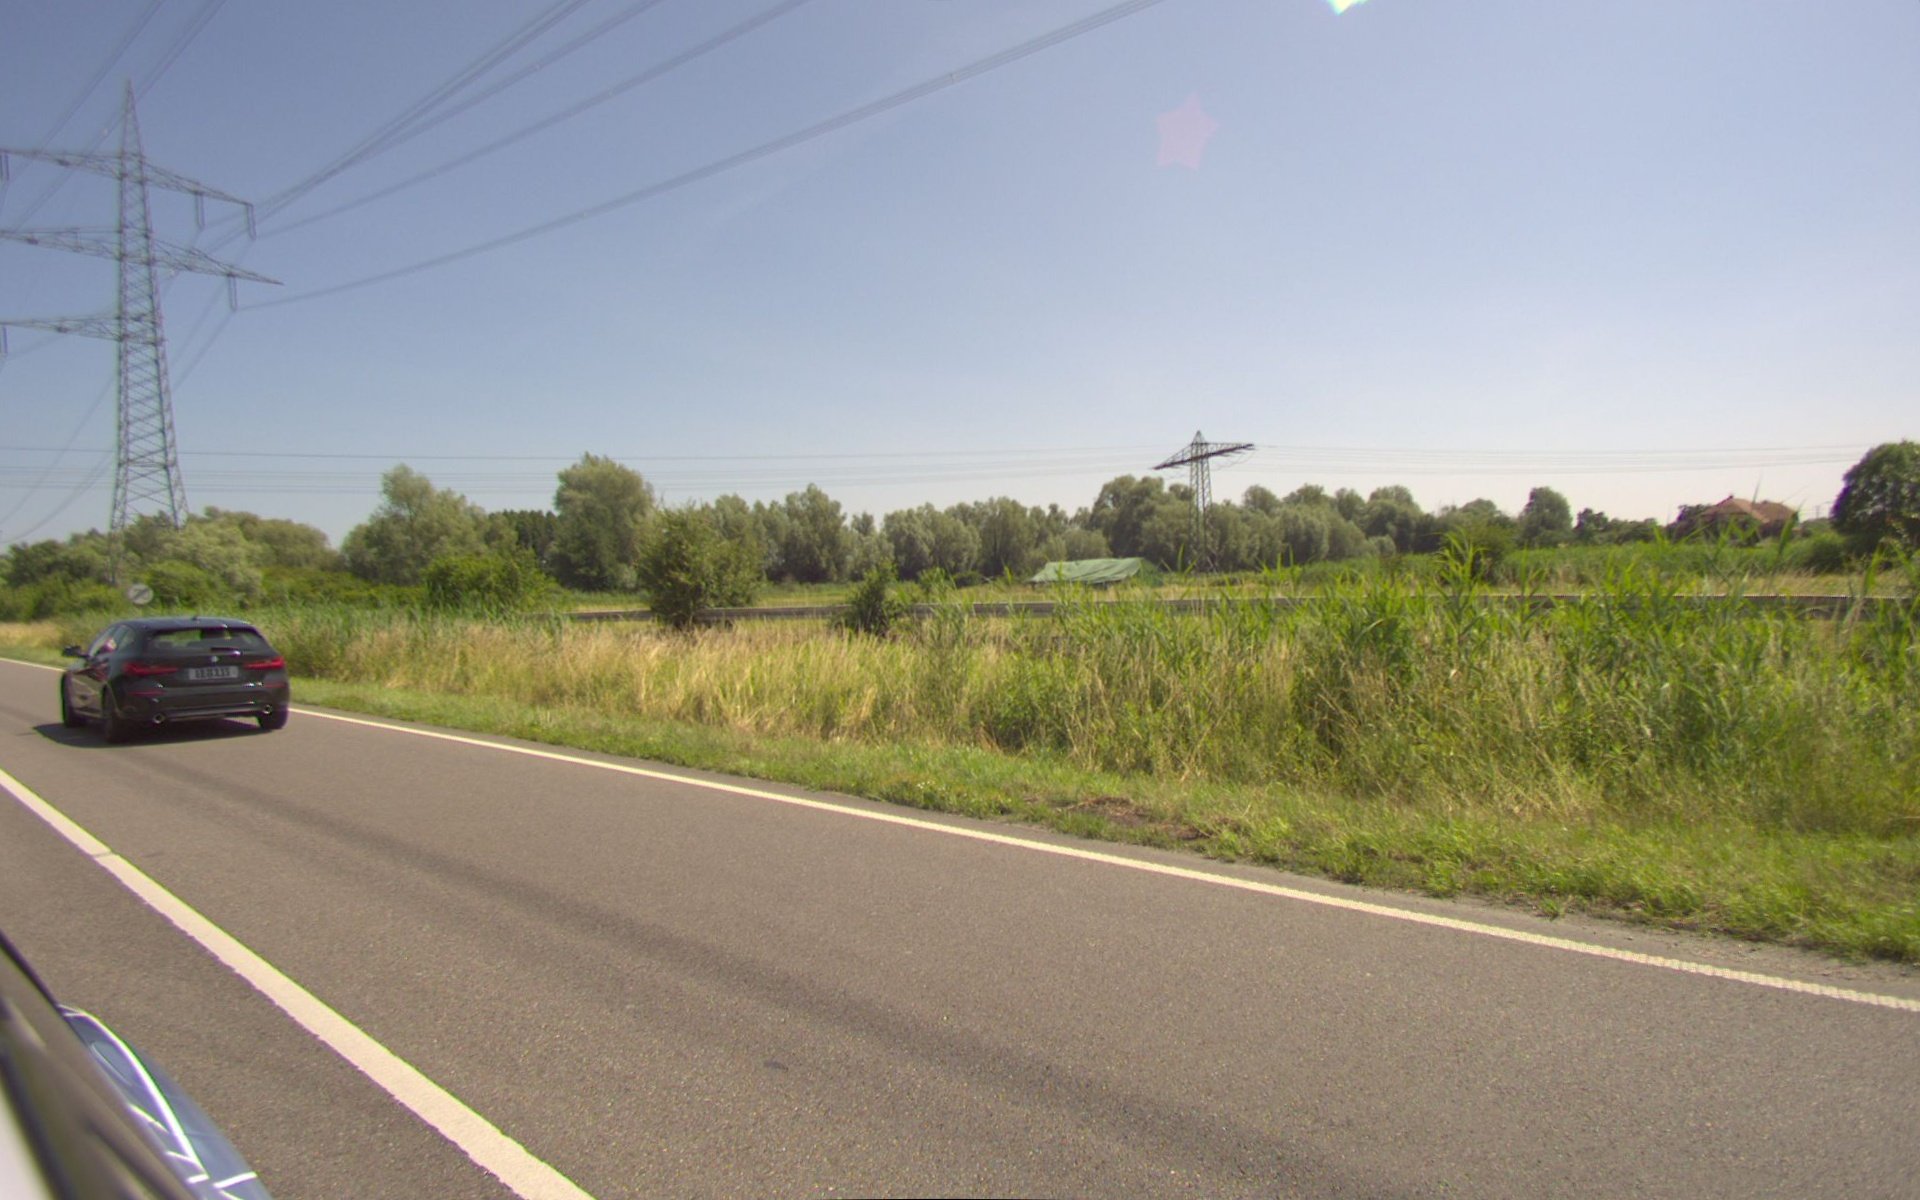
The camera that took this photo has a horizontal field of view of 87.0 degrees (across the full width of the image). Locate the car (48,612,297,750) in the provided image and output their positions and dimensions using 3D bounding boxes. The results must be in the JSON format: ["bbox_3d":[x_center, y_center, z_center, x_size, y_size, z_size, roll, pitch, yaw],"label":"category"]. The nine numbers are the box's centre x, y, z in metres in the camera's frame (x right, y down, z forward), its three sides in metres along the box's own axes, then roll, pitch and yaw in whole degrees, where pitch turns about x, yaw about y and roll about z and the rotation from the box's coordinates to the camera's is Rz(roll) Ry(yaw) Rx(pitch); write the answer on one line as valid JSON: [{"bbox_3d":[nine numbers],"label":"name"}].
[{"bbox_3d":[-10.195,0.924,13.006,3.997,1.475,1.764,-1,-1,41],"label":"car"}]
